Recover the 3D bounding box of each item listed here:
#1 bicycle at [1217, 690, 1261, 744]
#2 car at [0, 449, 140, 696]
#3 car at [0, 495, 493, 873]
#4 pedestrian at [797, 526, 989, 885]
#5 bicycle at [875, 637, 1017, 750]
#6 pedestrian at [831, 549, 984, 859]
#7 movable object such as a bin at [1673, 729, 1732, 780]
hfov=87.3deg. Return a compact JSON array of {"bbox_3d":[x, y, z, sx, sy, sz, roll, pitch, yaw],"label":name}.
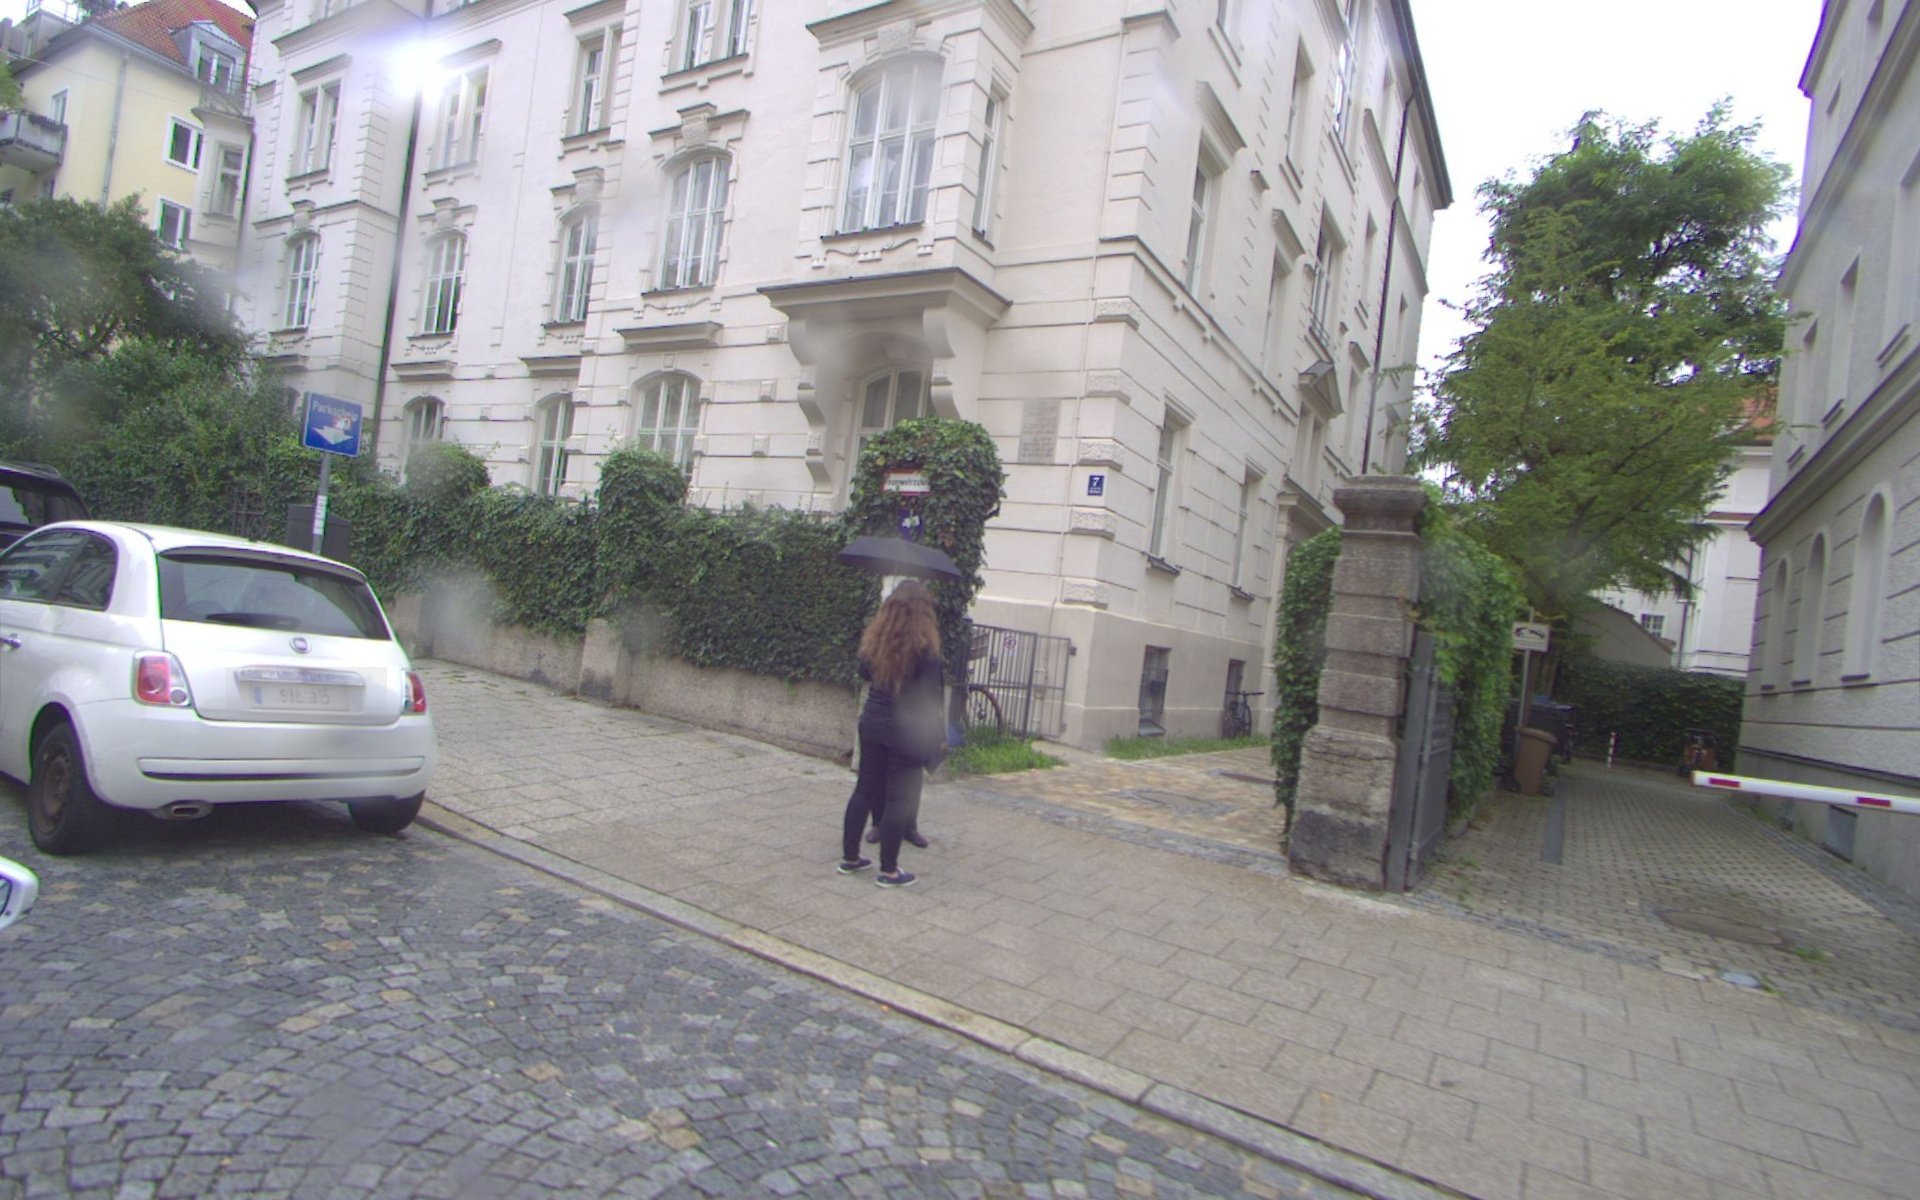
[{"bbox_3d":[4.799,2.001,17.258,0.312,0.843,1.604,7,-2,28],"label":"bicycle"},{"bbox_3d":[-9.081,-0.461,8.238,5.400,1.692,1.879,6,-2,32],"label":"car"},{"bbox_3d":[-4.583,0.312,5.718,3.599,1.485,1.635,6,-4,32],"label":"car"},{"bbox_3d":[-0.379,0.568,5.739,0.671,1.872,0.576,7,0,35],"label":"pedestrian"},{"bbox_3d":[-0.162,1.033,11.283,1.460,1.054,0.394,7,-1,26],"label":"bicycle"},{"bbox_3d":[-0.319,0.650,6.503,0.647,1.829,0.631,7,-1,9],"label":"pedestrian"},{"bbox_3d":[19.296,4.011,26.135,0.981,1.147,1.434,6,-3,43],"label":"movable object such as a bin"}]
